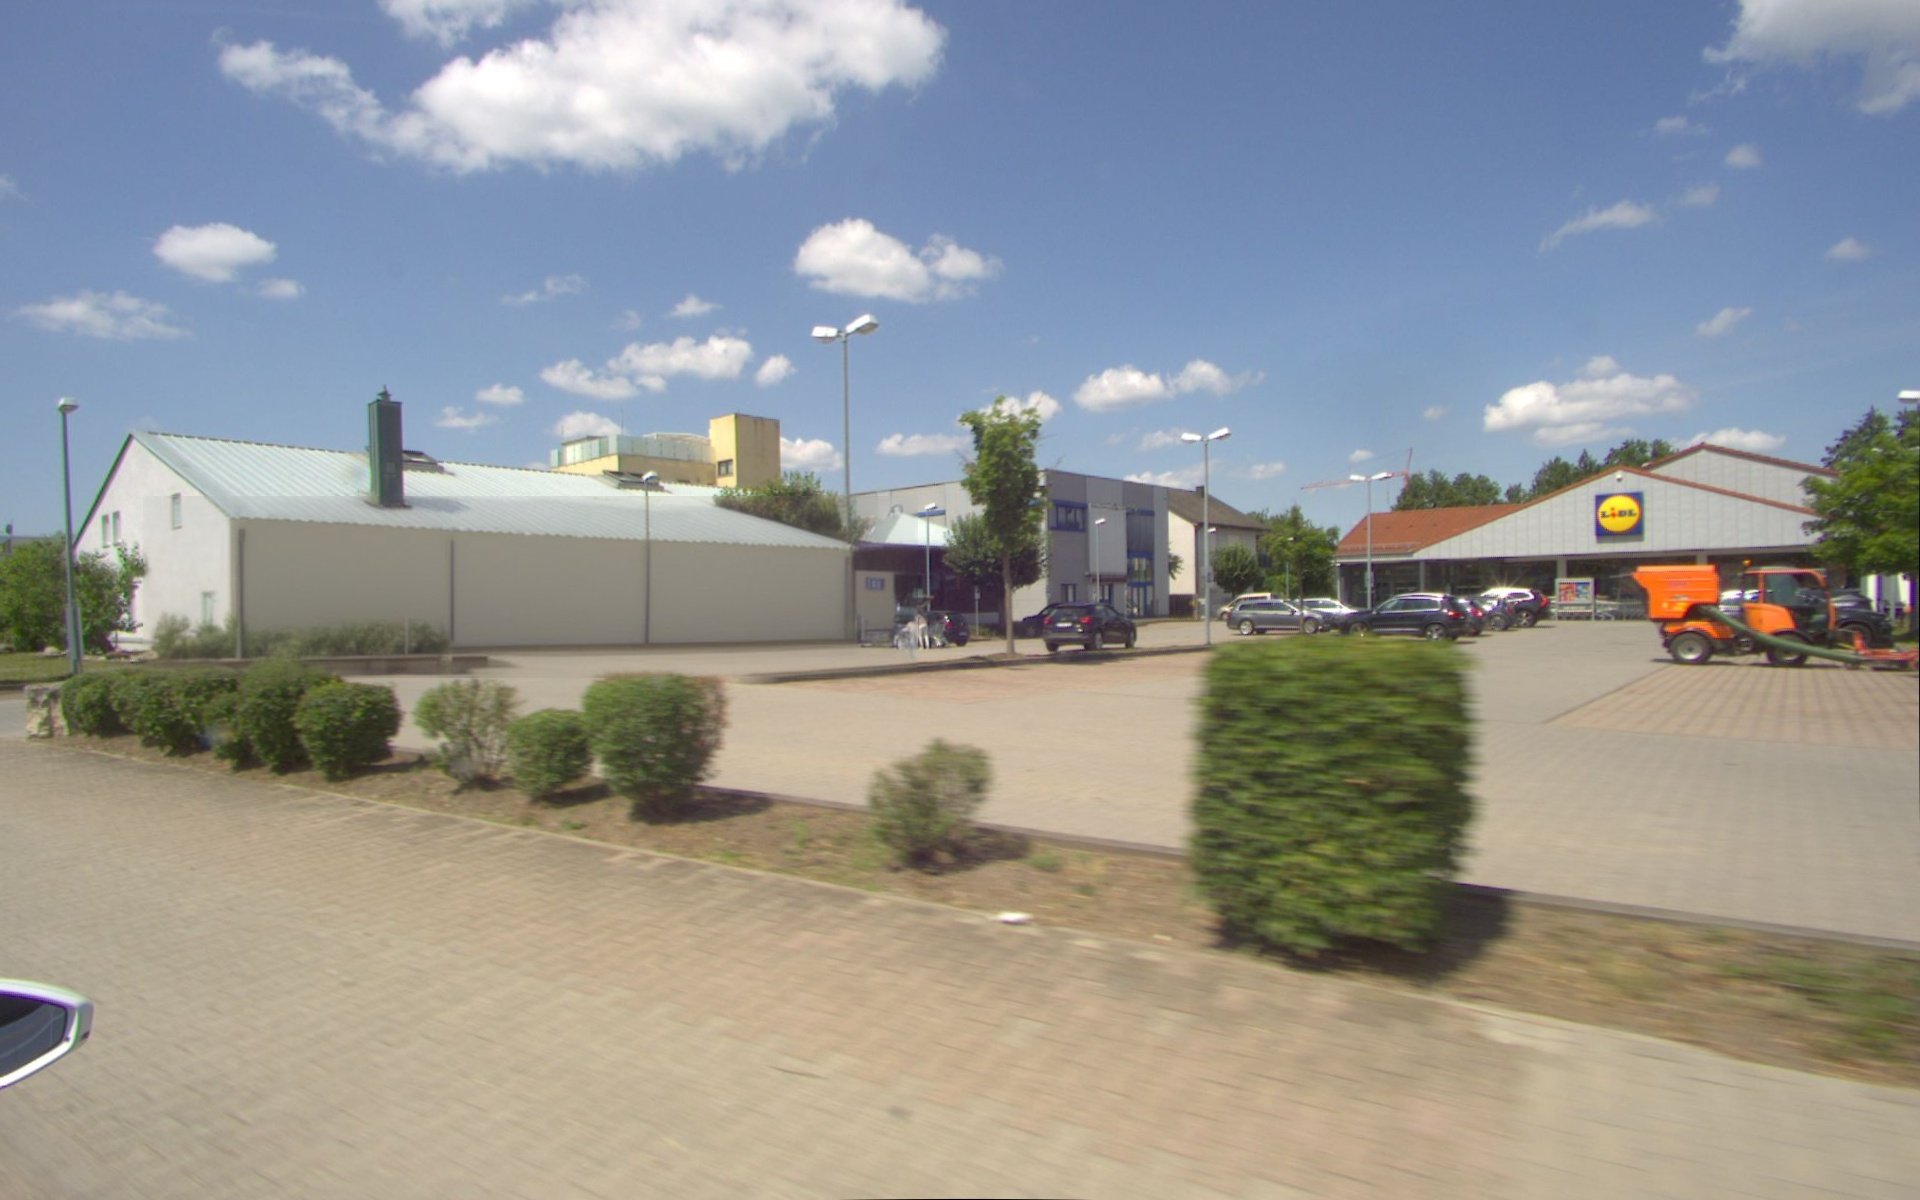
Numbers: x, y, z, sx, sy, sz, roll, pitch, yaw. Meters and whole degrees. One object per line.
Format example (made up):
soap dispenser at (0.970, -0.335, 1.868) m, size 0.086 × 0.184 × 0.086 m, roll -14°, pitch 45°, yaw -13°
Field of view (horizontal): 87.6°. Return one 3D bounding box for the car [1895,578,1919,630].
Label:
car at (33.225, 0.109, 33.601) m, size 2.677 × 1.710 × 1.286 m, roll -1°, pitch 1°, yaw 44°

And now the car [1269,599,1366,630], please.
car at (16.282, 0.660, 45.707) m, size 3.943 × 1.326 × 1.576 m, roll -1°, pitch 0°, yaw 33°

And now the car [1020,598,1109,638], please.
car at (5.162, 0.898, 49.605) m, size 3.942 × 1.730 × 1.879 m, roll -4°, pitch -1°, yaw 40°

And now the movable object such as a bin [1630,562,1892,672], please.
movable object such as a bin at (17.937, 0.332, 22.598) m, size 1.669 × 2.234 × 4.475 m, roll -2°, pitch 2°, yaw -45°

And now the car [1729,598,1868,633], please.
car at (30.511, 0.538, 36.523) m, size 1.598 × 1.189 × 3.752 m, roll -2°, pitch 2°, yaw -43°

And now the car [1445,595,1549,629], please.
car at (23.633, 0.541, 44.127) m, size 3.943 × 1.429 × 1.577 m, roll -1°, pitch 0°, yaw 33°

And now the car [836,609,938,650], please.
car at (-2.894, 1.126, 39.198) m, size 3.856 × 1.518 × 1.879 m, roll -1°, pitch 0°, yaw 42°

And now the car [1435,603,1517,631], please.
car at (21.632, 0.698, 41.967) m, size 2.951 × 1.139 × 1.577 m, roll -1°, pitch 0°, yaw 33°

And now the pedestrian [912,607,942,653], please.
pedestrian at (-1.243, 1.114, 37.496) m, size 0.724 × 1.659 × 0.774 m, roll -3°, pitch 0°, yaw -44°

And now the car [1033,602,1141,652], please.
car at (4.146, 0.821, 32.204) m, size 1.971 × 1.514 × 3.979 m, roll -1°, pitch 0°, yaw 32°

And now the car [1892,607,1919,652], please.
car at (29.348, 0.848, 29.275) m, size 2.764 × 1.326 × 1.492 m, roll -1°, pitch 0°, yaw 28°

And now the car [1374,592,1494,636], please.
car at (18.143, 0.551, 38.386) m, size 3.947 × 1.614 × 1.575 m, roll -1°, pitch 0°, yaw 35°

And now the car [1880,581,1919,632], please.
car at (31.060, 0.187, 31.739) m, size 2.636 × 1.588 × 1.218 m, roll -1°, pitch 1°, yaw 35°

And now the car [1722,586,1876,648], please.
car at (24.658, 0.519, 29.486) m, size 1.496 × 1.633 × 3.308 m, roll -2°, pitch -1°, yaw -45°

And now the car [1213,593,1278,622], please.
car at (19.536, 0.514, 68.556) m, size 3.930 × 1.790 × 1.808 m, roll -3°, pitch -1°, yaw 35°

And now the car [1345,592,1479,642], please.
car at (15.561, 0.577, 34.617) m, size 3.956 × 1.652 × 1.571 m, roll -1°, pitch 0°, yaw 43°

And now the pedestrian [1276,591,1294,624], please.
pedestrian at (21.573, 0.509, 66.439) m, size 0.900 × 2.134 × 0.866 m, roll 0°, pitch 0°, yaw 34°

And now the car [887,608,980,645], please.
car at (-1.123, 1.086, 40.901) m, size 3.701 × 1.443 × 1.580 m, roll -1°, pitch -1°, yaw 40°

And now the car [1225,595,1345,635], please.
car at (13.598, 0.630, 42.074) m, size 4.559 × 1.614 × 1.575 m, roll -1°, pitch 0°, yaw 37°
